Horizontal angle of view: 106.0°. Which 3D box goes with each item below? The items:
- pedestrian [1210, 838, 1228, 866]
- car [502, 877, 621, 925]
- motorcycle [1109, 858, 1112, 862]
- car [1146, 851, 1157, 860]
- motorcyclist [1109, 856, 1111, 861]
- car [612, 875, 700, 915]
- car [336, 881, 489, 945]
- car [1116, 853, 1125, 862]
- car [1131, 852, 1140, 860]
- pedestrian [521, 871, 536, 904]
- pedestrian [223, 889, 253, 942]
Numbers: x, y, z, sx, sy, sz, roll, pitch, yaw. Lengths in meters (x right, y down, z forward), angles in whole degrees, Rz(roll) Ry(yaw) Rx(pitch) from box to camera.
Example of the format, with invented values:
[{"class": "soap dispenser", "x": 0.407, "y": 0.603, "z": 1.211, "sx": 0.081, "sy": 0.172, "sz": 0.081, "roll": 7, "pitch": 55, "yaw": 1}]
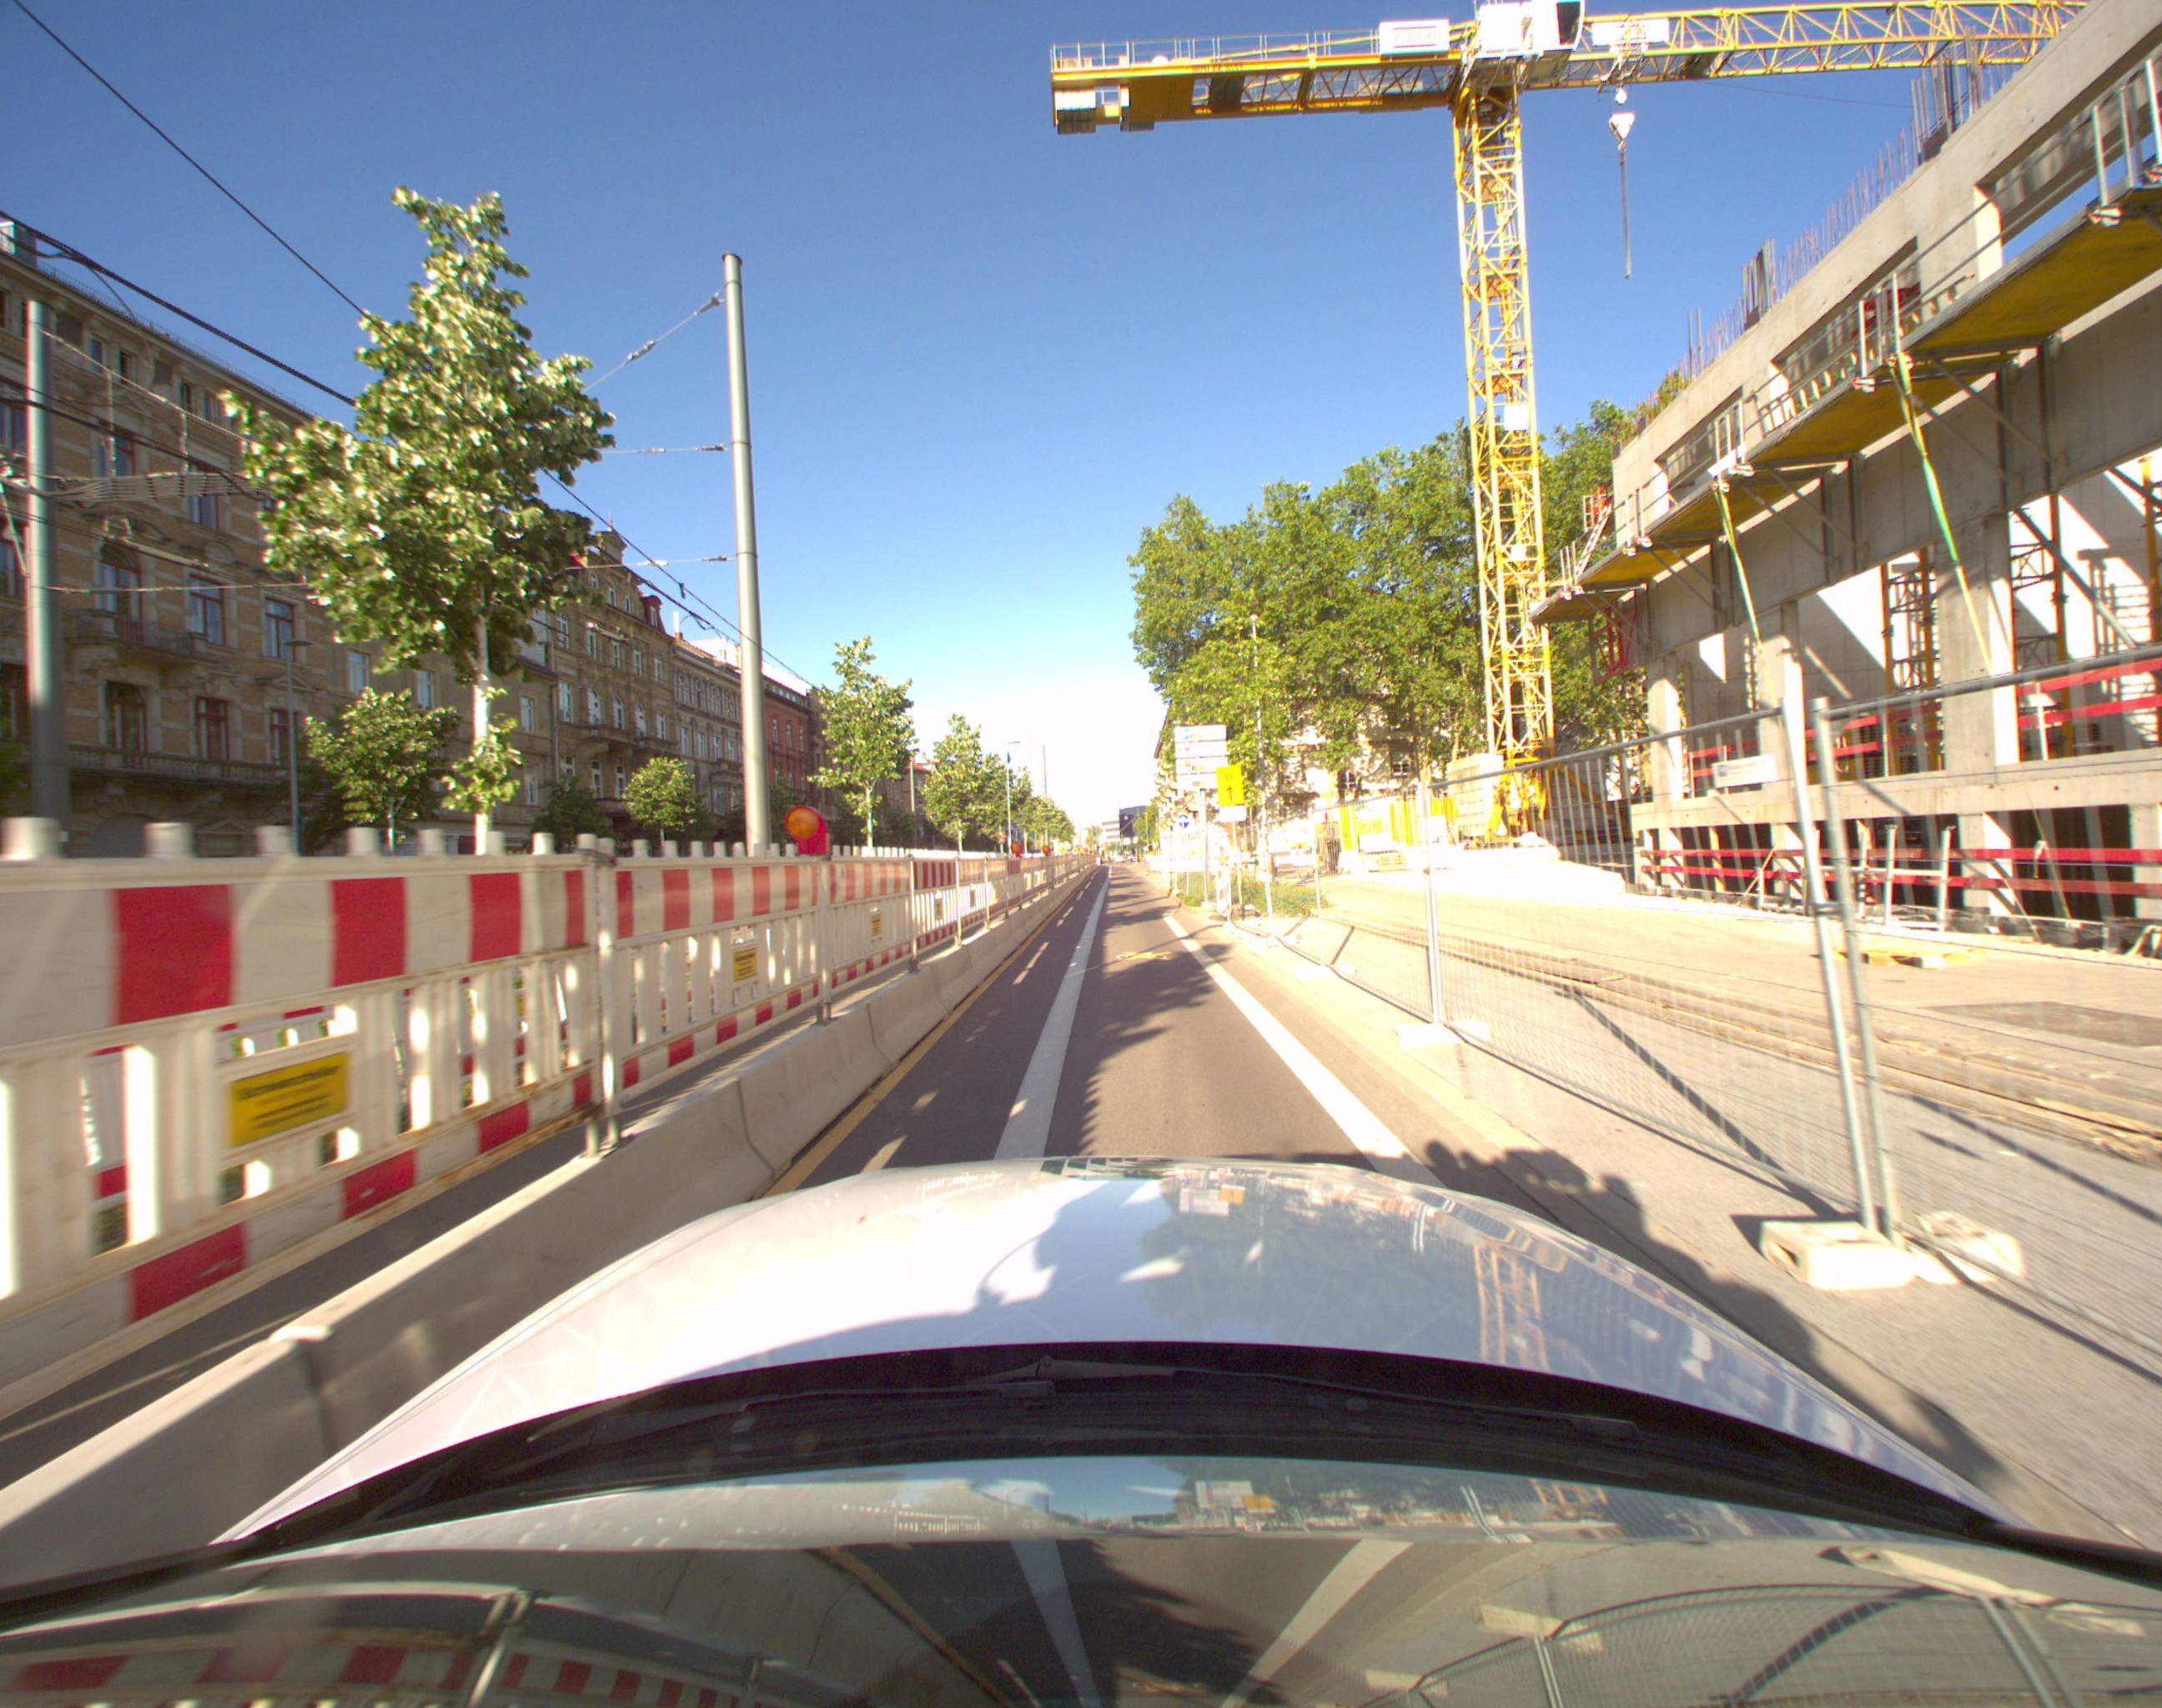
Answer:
[{"class": "pedestrian", "x": 8.827, "y": -0.111, "z": 52.078, "sx": 0.768, "sy": 1.746, "sz": 0.675, "roll": -3, "pitch": 0, "yaw": 43}, {"class": "car", "x": -20.791, "y": 1.823, "z": 32.875, "sx": 1.560, "sy": 1.562, "sz": 4.717, "roll": -3, "pitch": 0, "yaw": 2}, {"class": "motorcycle", "x": 7.613, "y": 1.612, "z": 211.873, "sx": 0.628, "sy": 0.896, "sz": 1.622, "roll": -3, "pitch": 0, "yaw": 2}, {"class": "car", "x": 14.096, "y": 0.300, "z": 163.115, "sx": 1.875, "sy": 1.589, "sz": 3.671, "roll": -3, "pitch": 0, "yaw": 3}, {"class": "motorcyclist", "x": 7.588, "y": 1.065, "z": 211.948, "sx": 0.628, "sy": 1.263, "sz": 0.606, "roll": -3, "pitch": 0, "yaw": 2}, {"class": "car", "x": -20.426, "y": 1.933, "z": 39.382, "sx": 1.560, "sy": 1.562, "sz": 4.717, "roll": -3, "pitch": 0, "yaw": 2}, {"class": "car", "x": -21.204, "y": 1.817, "z": 26.062, "sx": 1.560, "sy": 1.675, "sz": 3.811, "roll": -3, "pitch": 0, "yaw": 2}, {"class": "car", "x": 8.723, "y": 0.724, "z": 178.646, "sx": 1.876, "sy": 1.842, "sz": 3.670, "roll": -3, "pitch": 0, "yaw": 2}, {"class": "car", "x": 12.780, "y": 0.414, "z": 190.460, "sx": 1.876, "sy": 1.842, "sz": 3.670, "roll": -3, "pitch": 0, "yaw": 2}, {"class": "pedestrian", "x": -26.207, "y": 1.572, "z": 38.654, "sx": 0.403, "sy": 1.534, "sz": 0.435, "roll": -1, "pitch": 0, "yaw": 2}, {"class": "pedestrian", "x": -25.856, "y": 1.885, "z": 24.987, "sx": 0.460, "sy": 1.585, "sz": 0.434, "roll": -1, "pitch": 0, "yaw": -5}]
